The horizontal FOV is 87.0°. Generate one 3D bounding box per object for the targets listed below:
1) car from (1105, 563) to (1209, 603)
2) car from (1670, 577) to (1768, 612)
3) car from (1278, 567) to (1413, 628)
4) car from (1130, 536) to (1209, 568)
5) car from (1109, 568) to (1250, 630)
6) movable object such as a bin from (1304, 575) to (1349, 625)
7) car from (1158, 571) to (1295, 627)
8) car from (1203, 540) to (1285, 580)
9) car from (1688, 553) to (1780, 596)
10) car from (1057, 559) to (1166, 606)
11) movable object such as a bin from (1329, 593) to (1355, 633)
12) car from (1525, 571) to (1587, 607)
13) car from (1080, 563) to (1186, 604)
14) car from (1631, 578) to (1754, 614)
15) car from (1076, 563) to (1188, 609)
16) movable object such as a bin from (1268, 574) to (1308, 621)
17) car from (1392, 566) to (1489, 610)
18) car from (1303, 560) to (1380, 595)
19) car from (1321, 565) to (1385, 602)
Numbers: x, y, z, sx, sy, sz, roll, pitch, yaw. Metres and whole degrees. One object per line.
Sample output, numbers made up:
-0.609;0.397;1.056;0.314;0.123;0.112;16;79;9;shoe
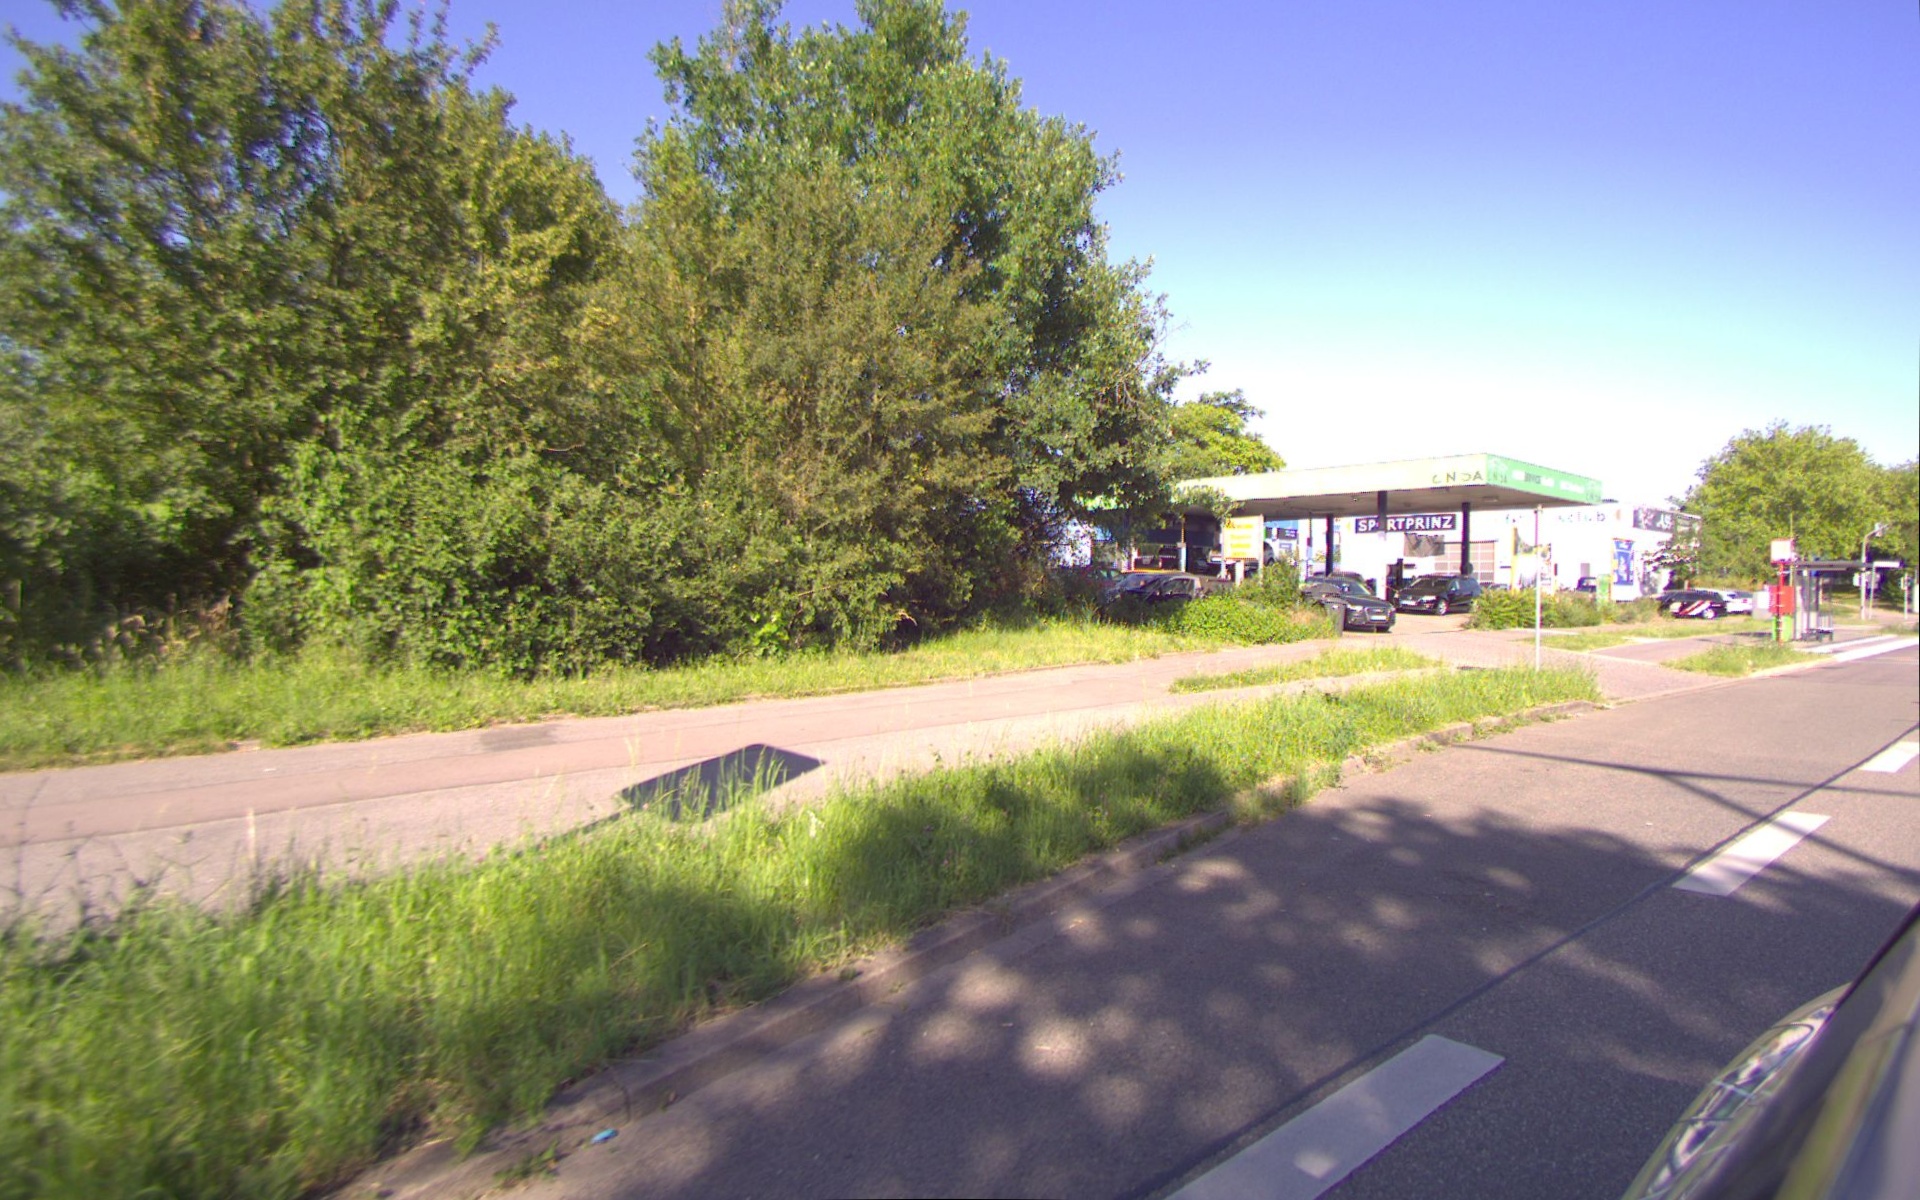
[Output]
8.130;-0.737;41.947;1.707;1.535;3.991;-1;2;-44;car
42.788;-0.335;57.159;1.690;1.468;3.943;1;7;-29;car
12.033;-0.137;31.950;1.764;1.660;4.571;1;3;-11;car
10.134;-2.289;48.884;3.562;1.496;1.923;-1;2;-39;car
5.758;-0.017;26.744;1.740;1.505;3.291;0;0;-38;car
10.688;-0.005;29.579;0.972;1.446;1.258;0;0;7;movable object such as a bin
7.316;-0.016;27.989;1.697;1.435;3.291;0;0;-38;car
13.393;-1.861;47.656;3.710;1.776;1.923;-1;2;-39;car
45.064;-1.527;59.055;1.652;2.036;4.012;4;6;-8;car
5.616;-0.614;37.261;4.062;1.627;1.716;-1;0;-40;car
10.463;0.343;27.751;0.572;1.088;0.509;0;0;8;movable object such as a bin
34.407;-0.660;58.416;4.146;1.883;1.896;-1;5;-43;car
6.896;-0.694;40.535;1.670;1.535;3.991;-1;2;-44;car
37.595;-0.228;52.059;4.748;1.549;1.900;2;3;4;car
5.920;-0.451;34.659;3.846;1.483;1.727;-1;0;-40;car
10.344;-0.102;31.986;0.972;1.446;1.222;1;0;7;movable object such as a bin
18.382;-0.462;38.646;4.172;1.592;1.748;0;1;-39;car
22.015;-1.264;58.510;1.890;1.931;3.697;0;0;-40;car
16.725;-0.671;43.245;1.970;1.505;3.984;-1;0;13;car
